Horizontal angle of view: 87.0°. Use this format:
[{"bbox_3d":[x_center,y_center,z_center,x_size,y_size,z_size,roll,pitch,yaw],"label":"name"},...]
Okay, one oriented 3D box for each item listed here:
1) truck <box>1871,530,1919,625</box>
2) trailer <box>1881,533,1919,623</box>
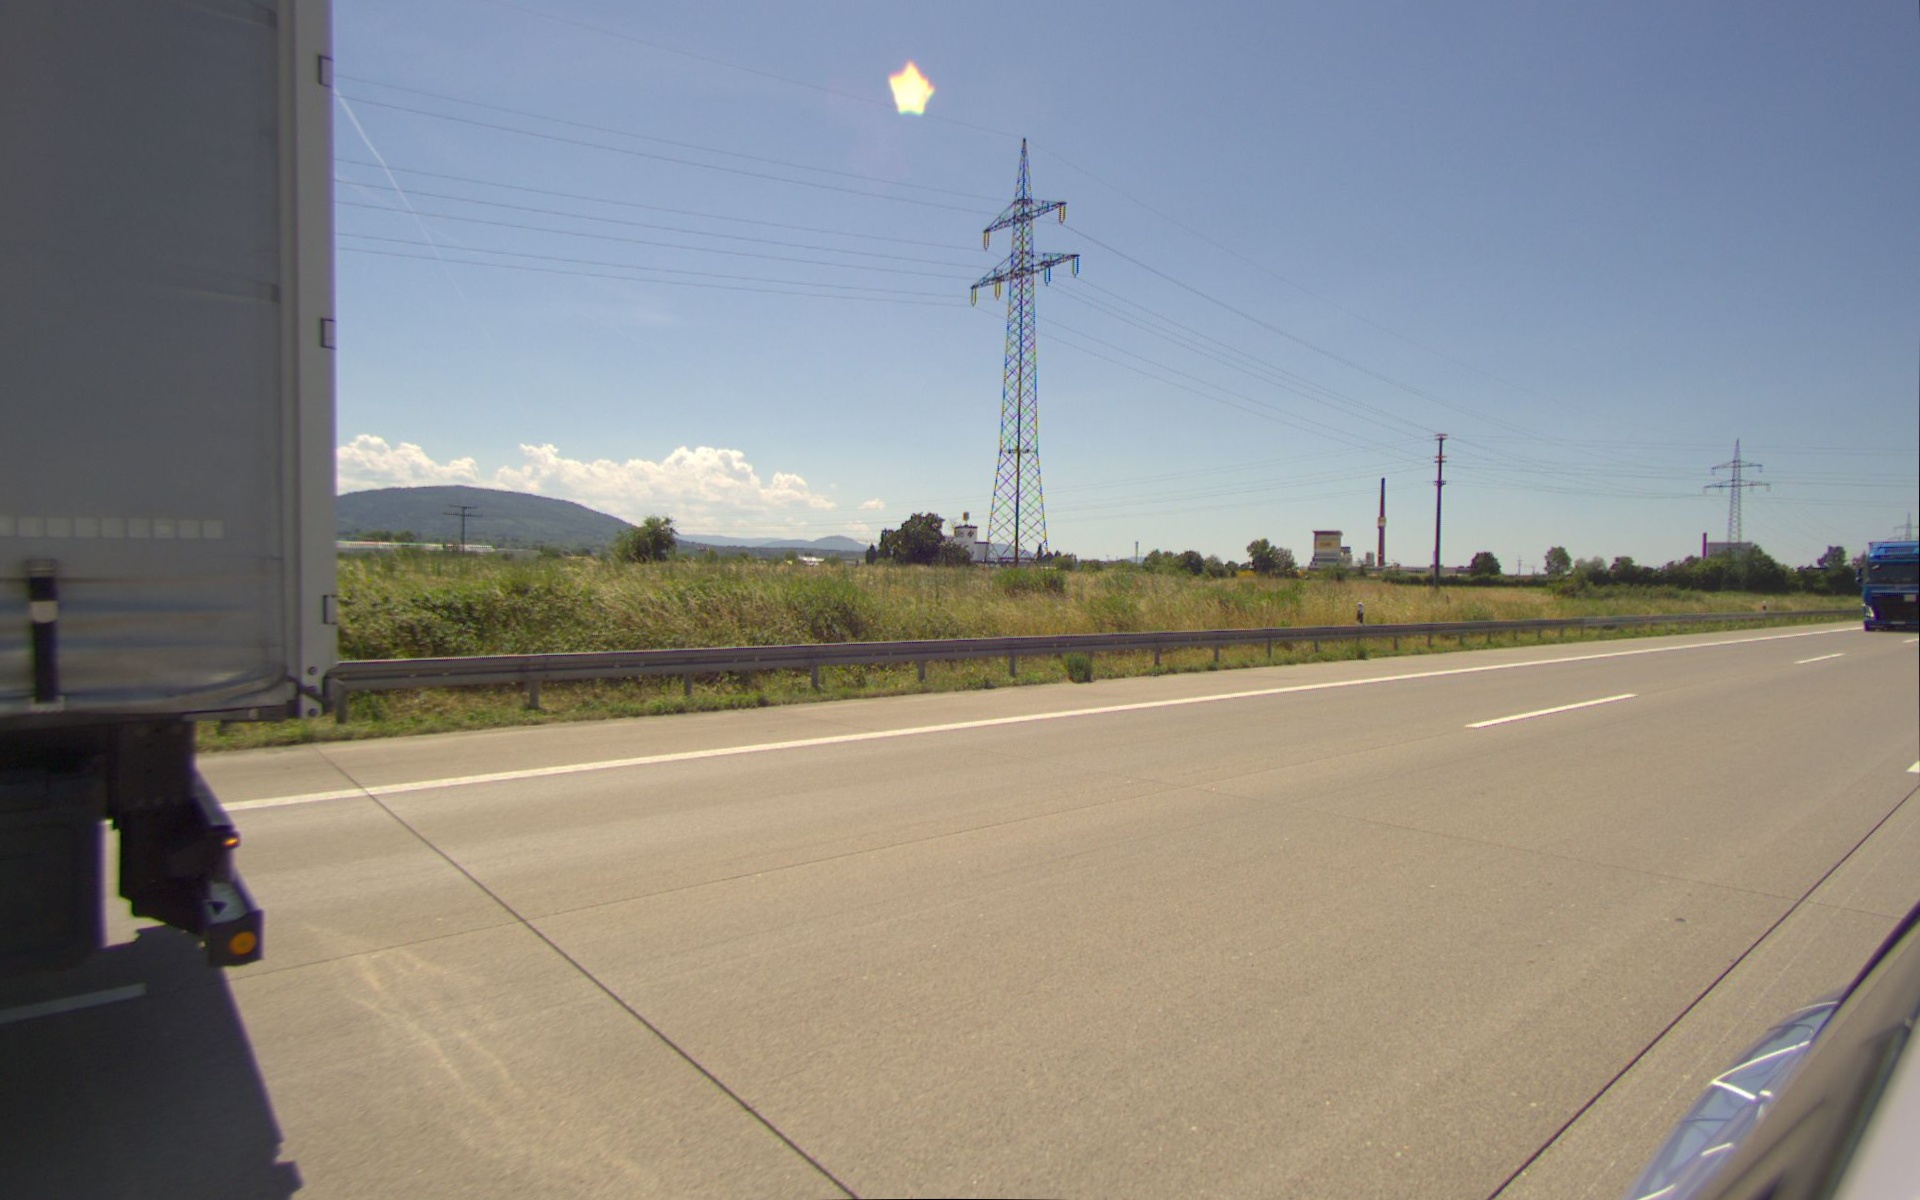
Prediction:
[{"bbox_3d":[43.438,-0.989,45.678,5.369,4.095,2.755,0,0,-40],"label":"truck"},{"bbox_3d":[48.450,-1.020,50.012,12.674,4.095,2.714,0,0,-40],"label":"trailer"}]
